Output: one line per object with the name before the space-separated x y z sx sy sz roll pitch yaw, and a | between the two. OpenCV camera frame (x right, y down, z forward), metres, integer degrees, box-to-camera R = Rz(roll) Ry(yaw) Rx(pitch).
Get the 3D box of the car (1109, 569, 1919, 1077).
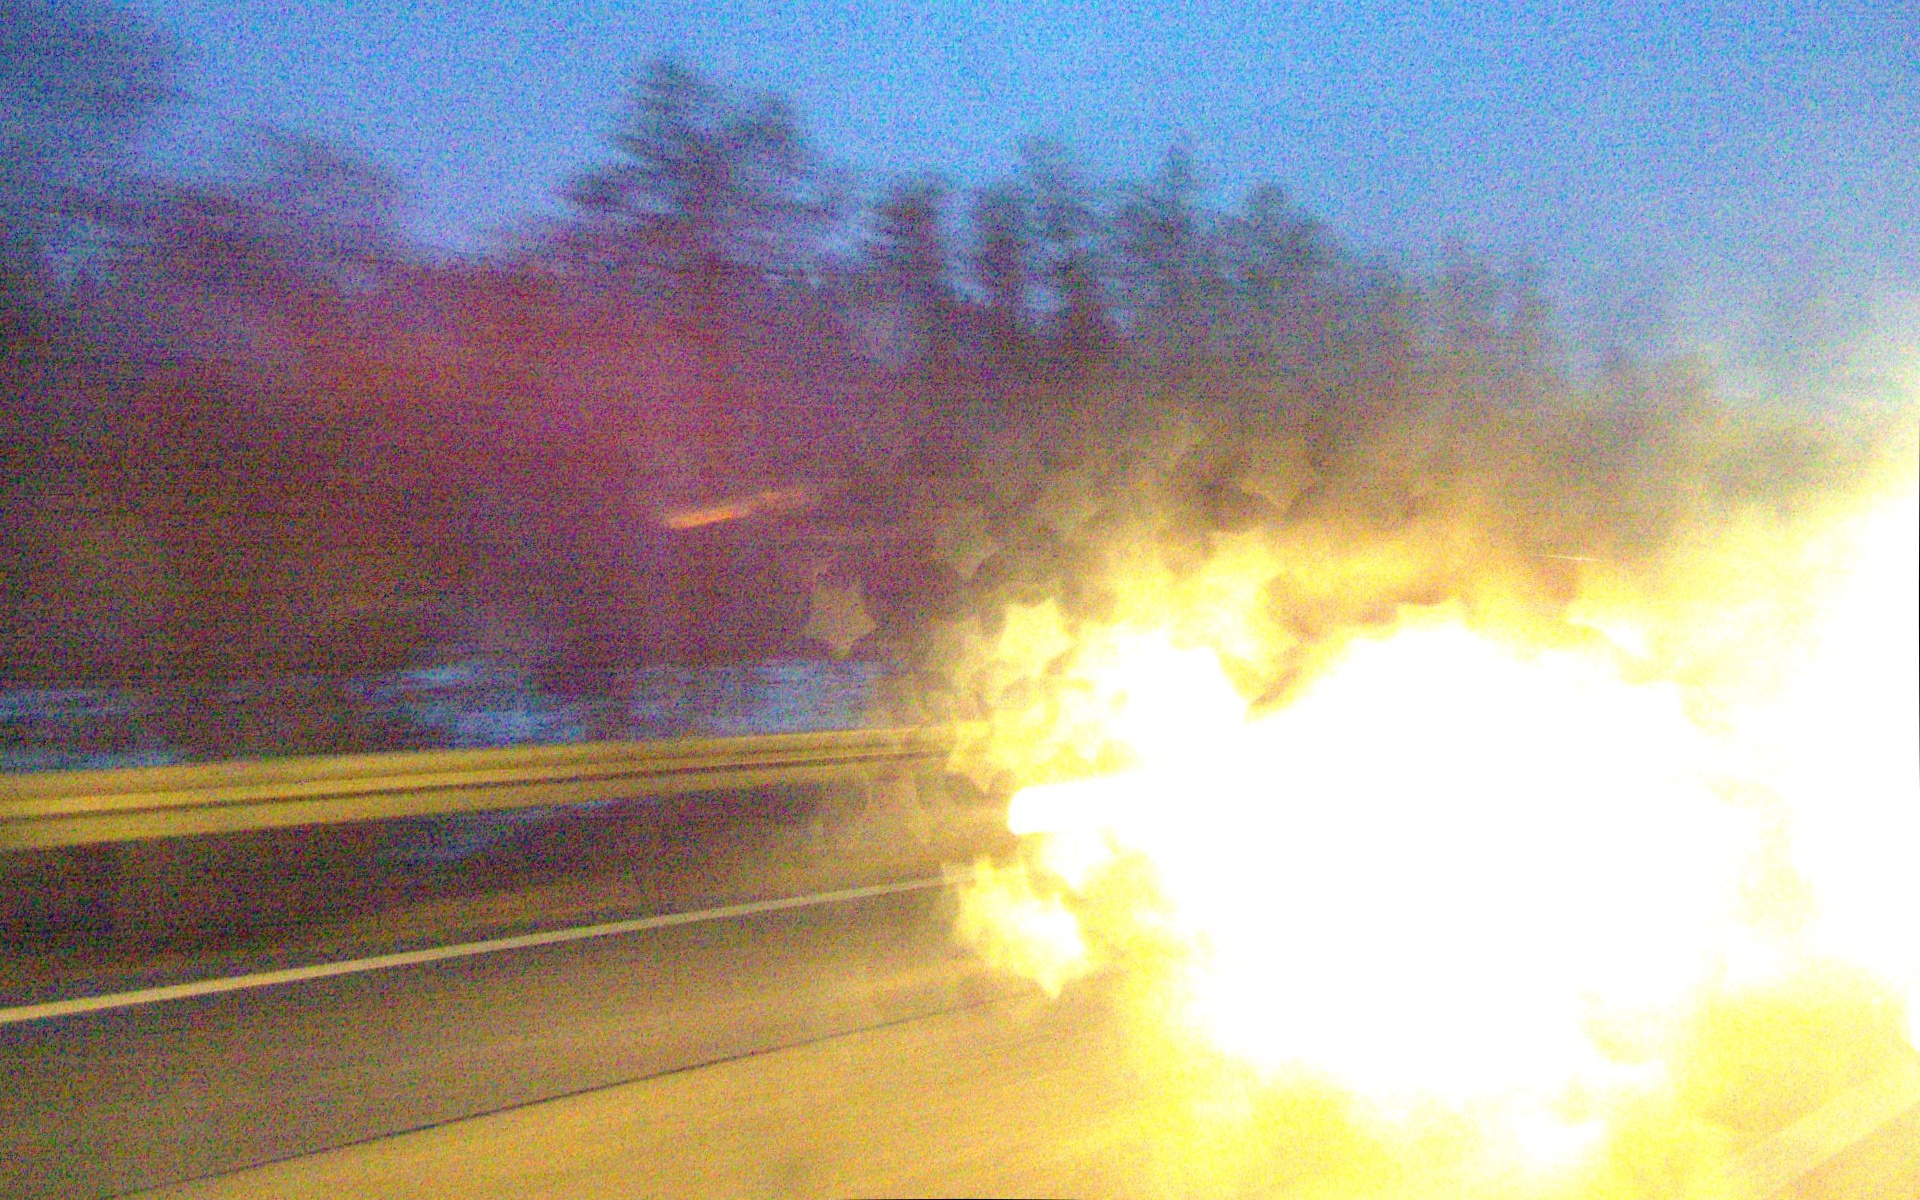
car | 3.136 0.735 5.149 4.577 1.621 1.800 1 1 -30
